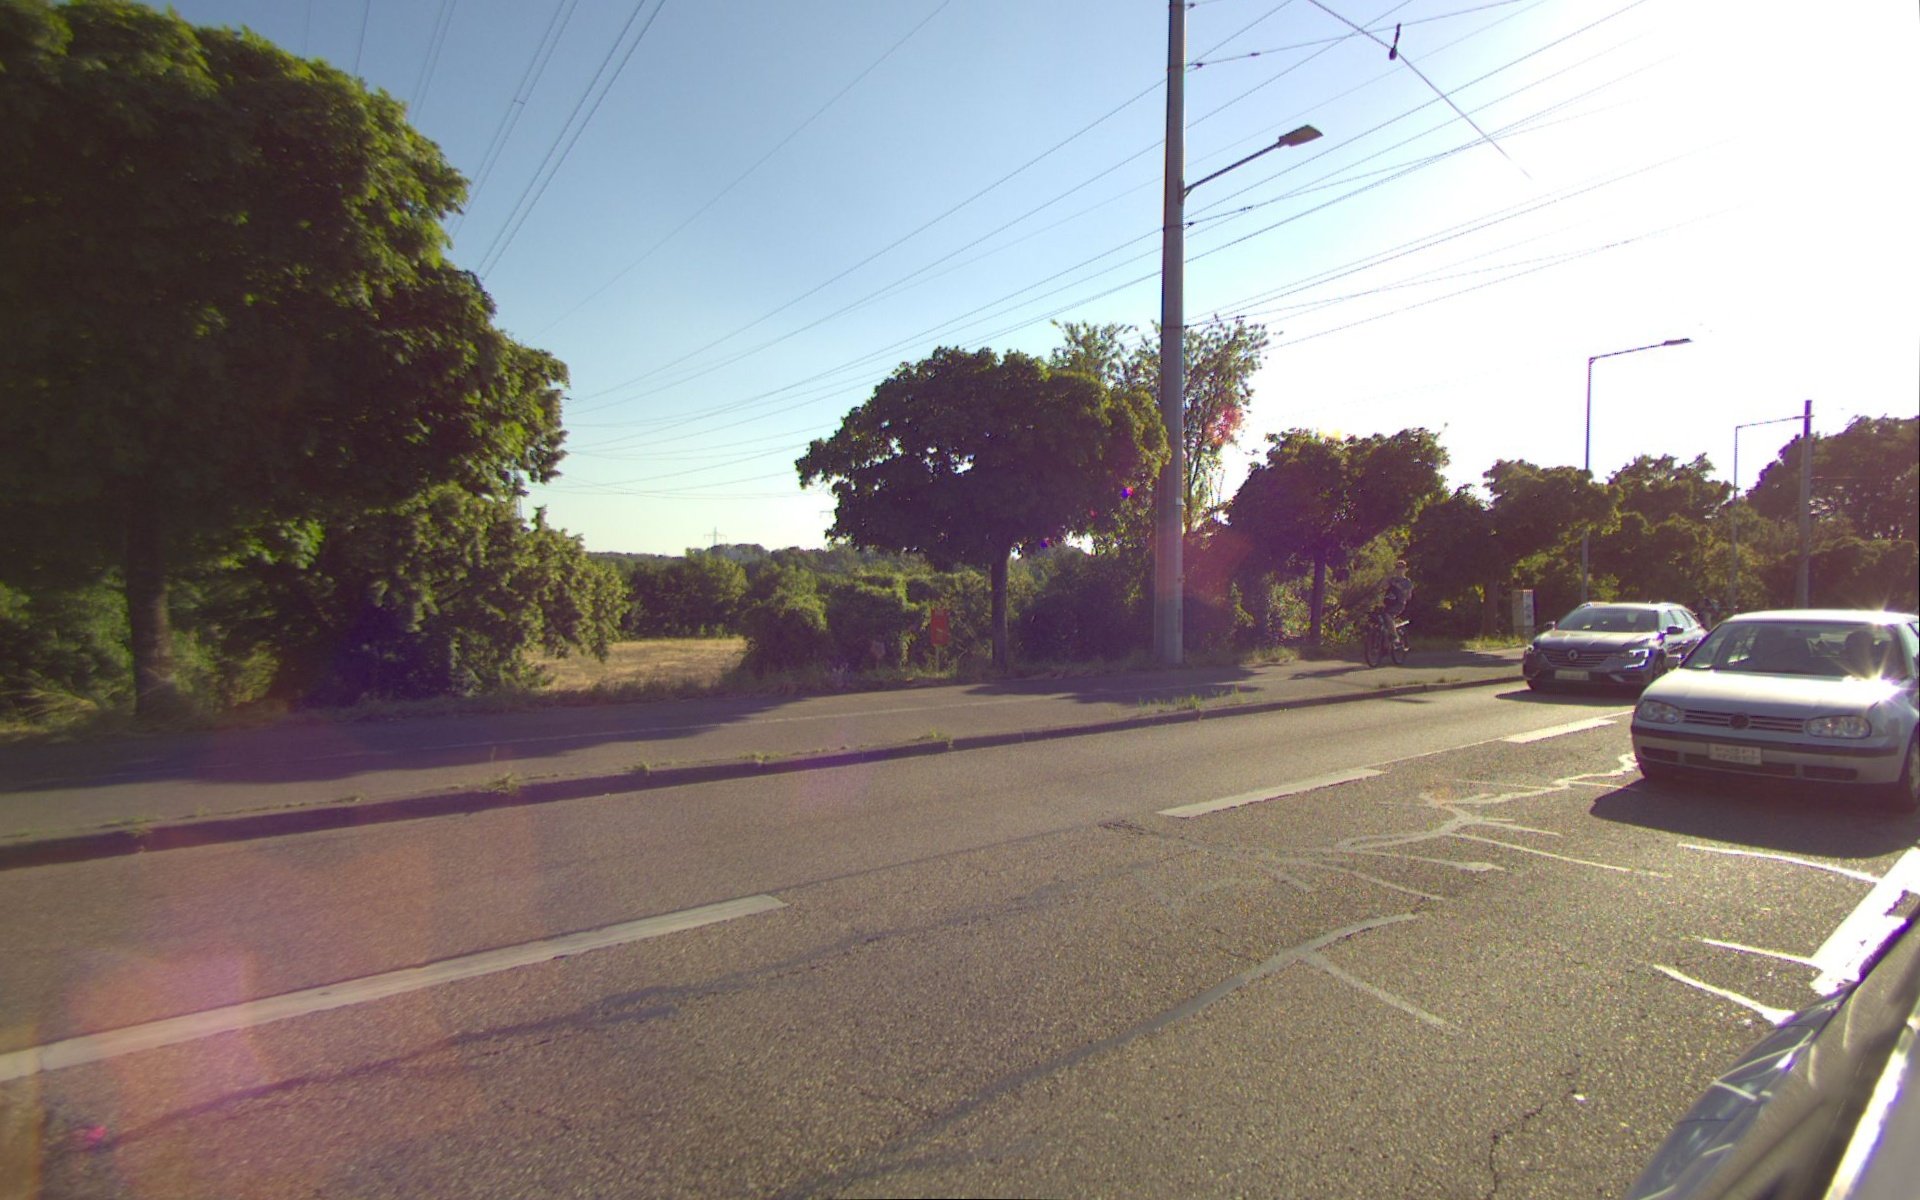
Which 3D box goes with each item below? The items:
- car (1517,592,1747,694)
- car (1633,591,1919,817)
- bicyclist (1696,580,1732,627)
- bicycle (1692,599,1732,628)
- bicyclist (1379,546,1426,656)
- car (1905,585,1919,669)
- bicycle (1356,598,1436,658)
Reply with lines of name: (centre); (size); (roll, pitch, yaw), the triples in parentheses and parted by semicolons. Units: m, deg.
car: (11.384, 0.618, 17.036); (4.574, 1.461, 1.881); (-1, 1, -38)
car: (7.370, 0.672, 8.583); (3.930, 1.463, 1.695); (-1, 1, -39)
bicyclist: (24.633, 0.100, 33.070); (1.041, 1.488, 0.628); (0, 5, -40)
bicycle: (24.564, 0.431, 33.057); (1.605, 0.844, 0.629); (0, 5, -39)
bicyclist: (8.404, 0.011, 19.209); (0.716, 2.042, 0.528); (0, -1, -39)
car: (20.712, 0.526, 20.359); (4.337, 1.620, 1.881); (-1, 1, -39)
bicycle: (8.232, 0.510, 19.068); (1.936, 1.074, 0.528); (0, 0, -39)
